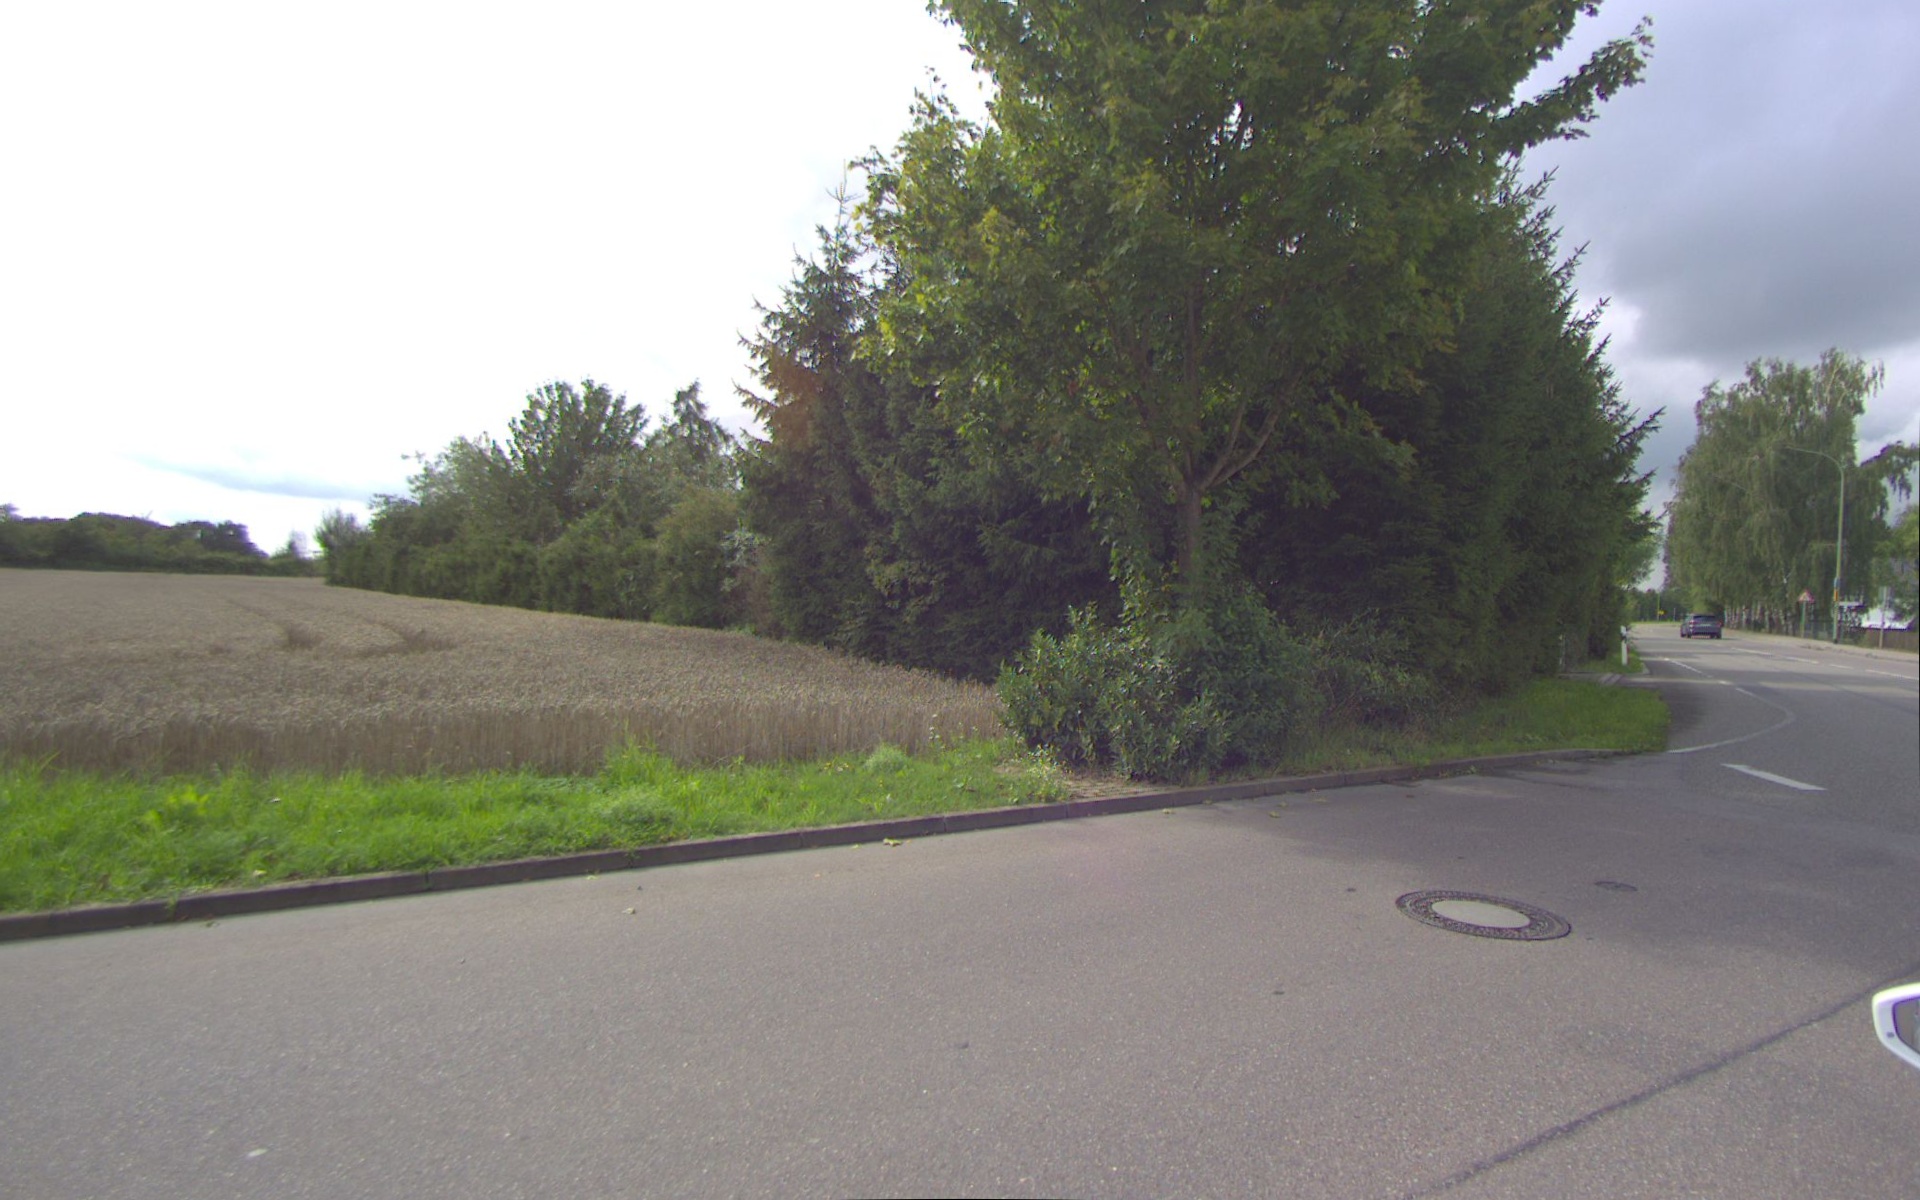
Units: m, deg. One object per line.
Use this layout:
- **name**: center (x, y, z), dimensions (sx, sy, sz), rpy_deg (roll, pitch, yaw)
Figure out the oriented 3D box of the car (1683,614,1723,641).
- **car**: center (47.707, 1.719, 64.547), dimensions (1.967, 1.573, 3.986), rpy_deg (3, 1, 36)
